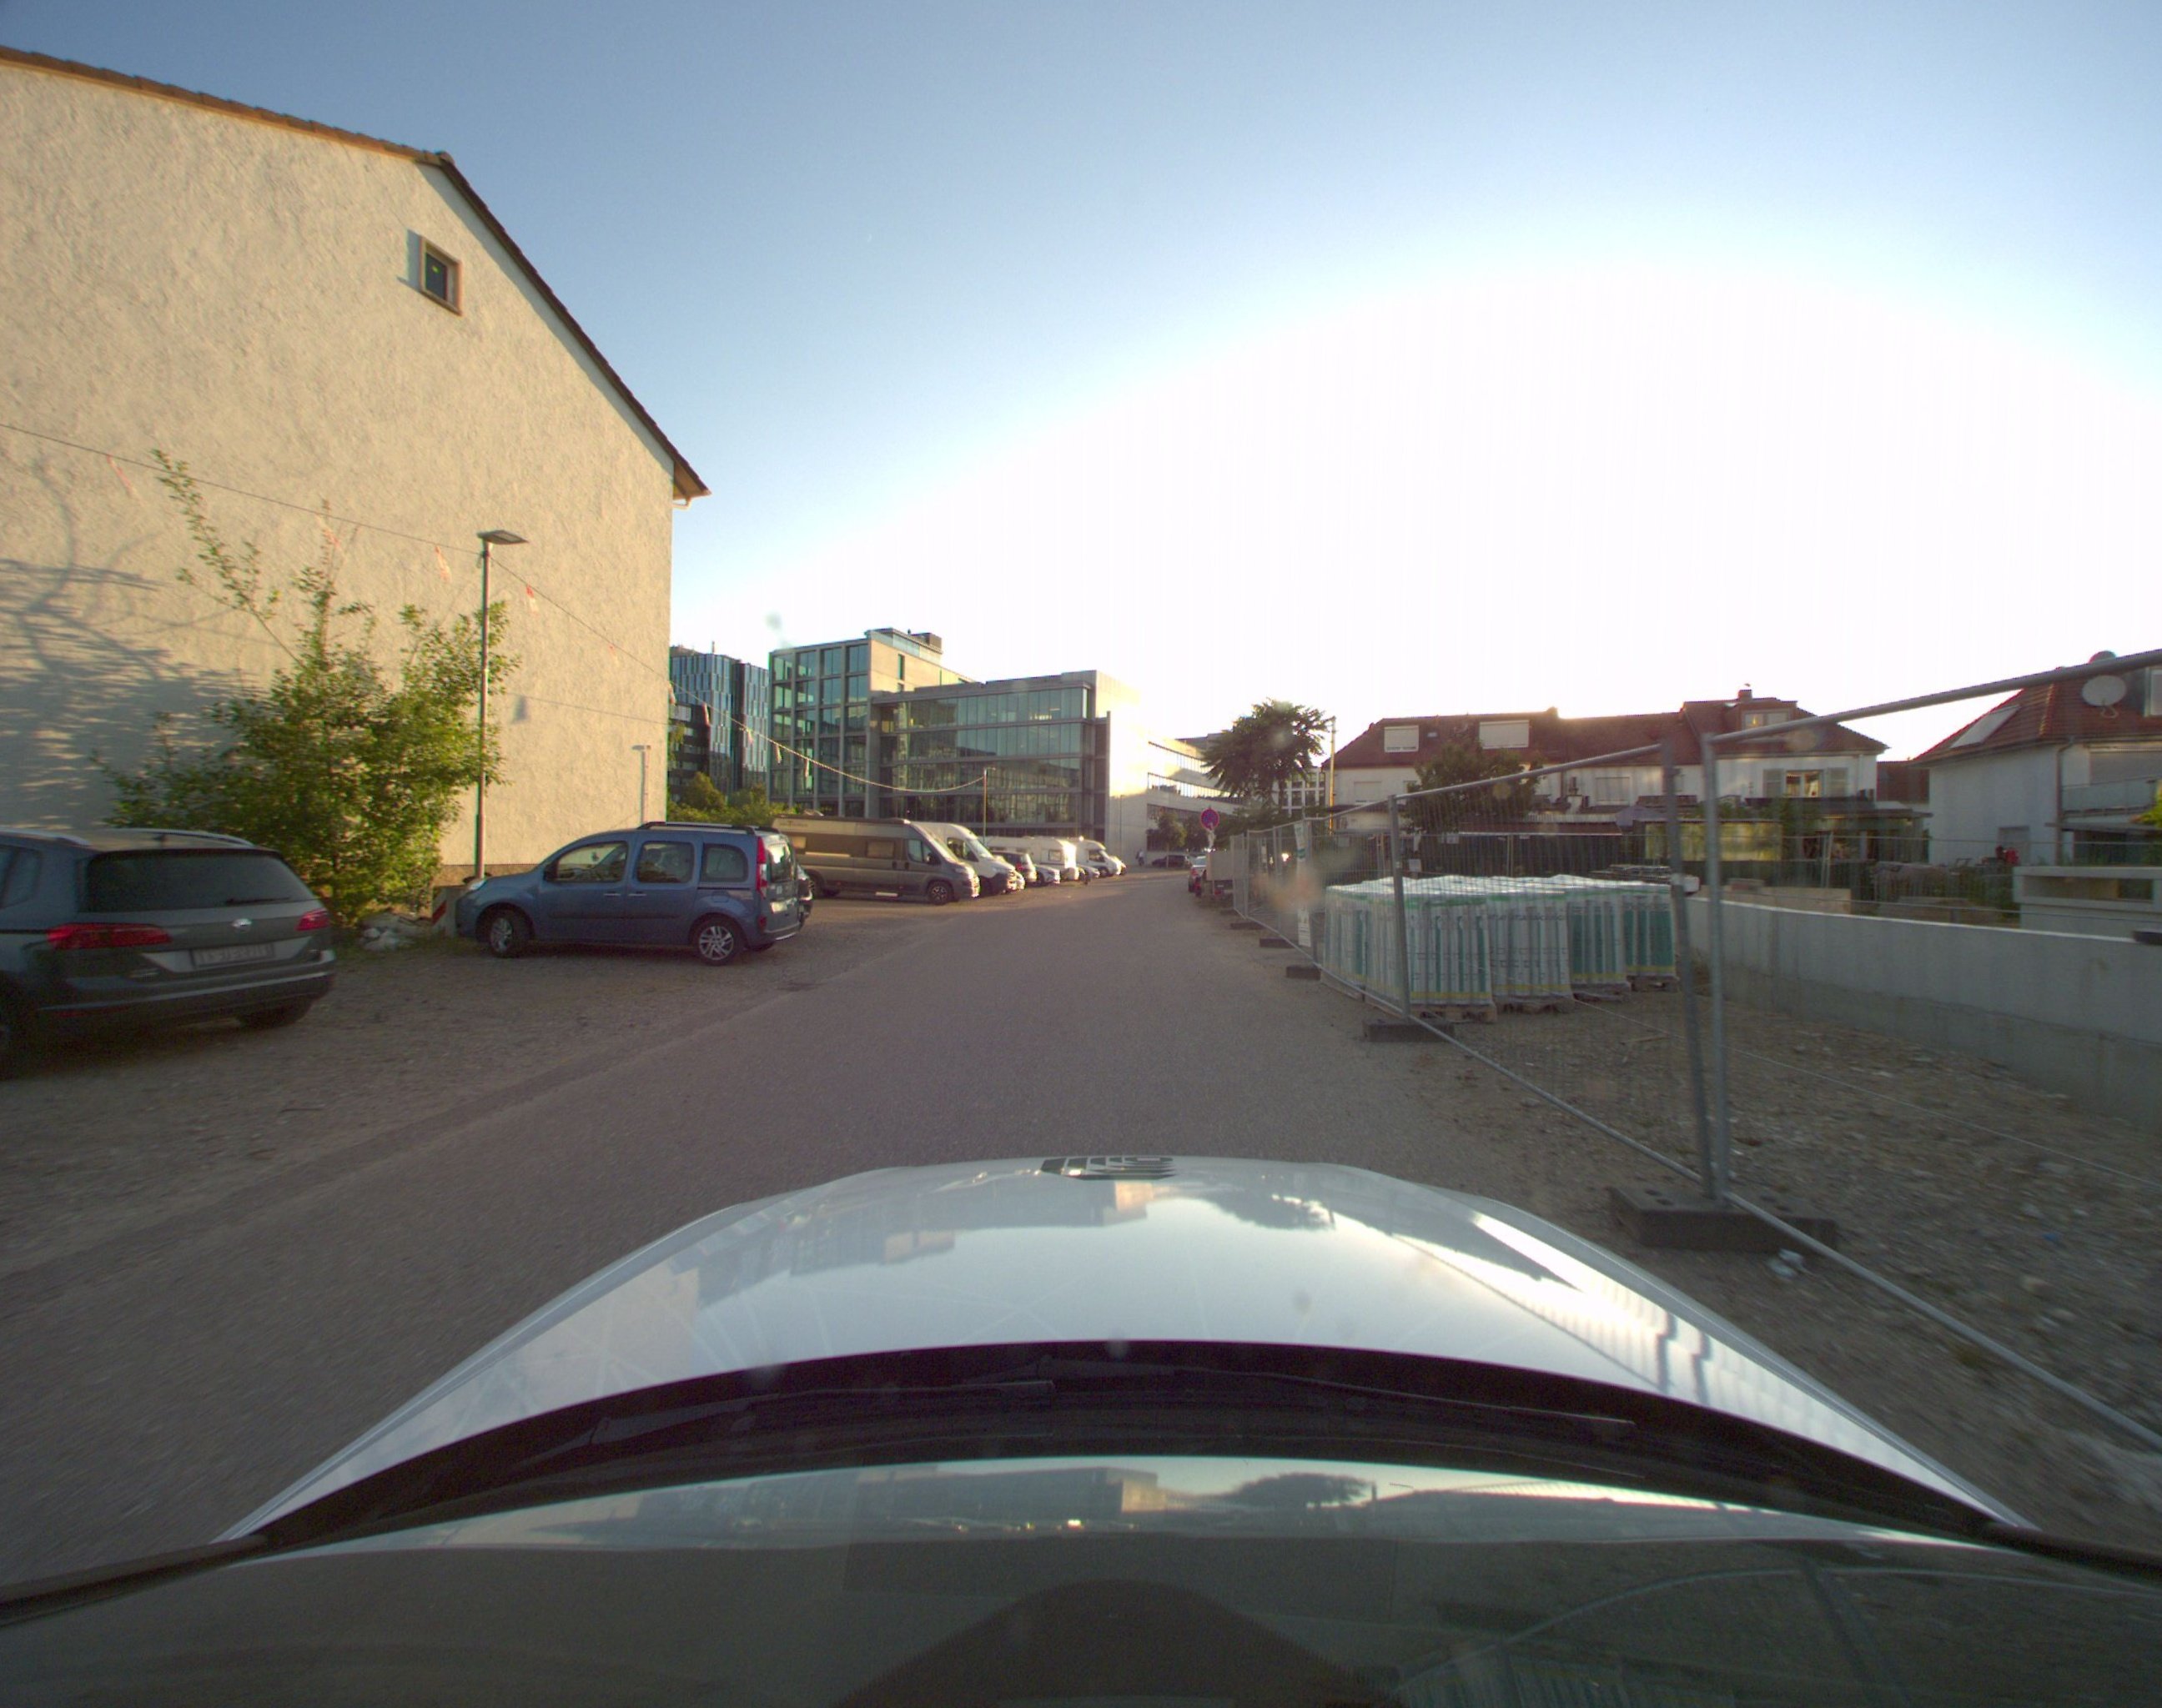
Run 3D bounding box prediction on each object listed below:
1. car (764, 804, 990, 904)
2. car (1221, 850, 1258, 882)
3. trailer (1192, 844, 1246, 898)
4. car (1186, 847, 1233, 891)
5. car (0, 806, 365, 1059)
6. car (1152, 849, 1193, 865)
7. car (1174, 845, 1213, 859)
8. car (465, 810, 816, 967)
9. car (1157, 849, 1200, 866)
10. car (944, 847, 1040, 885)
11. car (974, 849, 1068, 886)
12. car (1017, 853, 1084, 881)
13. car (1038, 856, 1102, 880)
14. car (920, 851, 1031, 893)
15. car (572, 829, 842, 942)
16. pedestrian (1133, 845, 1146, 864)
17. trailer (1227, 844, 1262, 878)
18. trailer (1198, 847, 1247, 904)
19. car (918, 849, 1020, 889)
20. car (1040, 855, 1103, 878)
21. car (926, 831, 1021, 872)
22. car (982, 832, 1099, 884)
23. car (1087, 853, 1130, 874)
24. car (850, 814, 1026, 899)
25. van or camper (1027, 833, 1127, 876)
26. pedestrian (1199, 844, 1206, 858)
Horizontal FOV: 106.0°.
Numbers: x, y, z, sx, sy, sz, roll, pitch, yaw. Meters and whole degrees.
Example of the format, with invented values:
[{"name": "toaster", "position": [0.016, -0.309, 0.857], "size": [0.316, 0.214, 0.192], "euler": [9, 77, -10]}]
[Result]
[{"name": "car", "position": [-6.225, 0.021, 25.442], "size": [6.364, 2.713, 2.114], "euler": [2, -1, 1]}, {"name": "car", "position": [9.825, 0.702, 50.250], "size": [1.757, 1.831, 4.427], "euler": [0, 1, 16]}, {"name": "trailer", "position": [5.061, 0.572, 29.659], "size": [1.720, 1.777, 4.951], "euler": [-1, 0, 10]}, {"name": "car", "position": [5.607, 0.611, 35.126], "size": [1.794, 1.724, 4.943], "euler": [-2, 0, 11]}, {"name": "car", "position": [-7.954, 0.461, 6.110], "size": [3.905, 1.580, 1.646], "euler": [1, 1, 6]}, {"name": "car", "position": [9.121, 0.320, 81.175], "size": [3.704, 1.482, 1.778], "euler": [2, 1, 19]}, {"name": "car", "position": [12.466, -0.229, 90.428], "size": [3.951, 1.511, 1.770], "euler": [2, 1, 26]}, {"name": "car", "position": [-6.033, 0.459, 11.552], "size": [3.918, 1.911, 1.746], "euler": [2, 1, -5]}, {"name": "car", "position": [10.039, 0.352, 83.781], "size": [4.053, 1.528, 1.855], "euler": [2, 1, 19]}, {"name": "car", "position": [-3.986, 0.520, 36.786], "size": [3.895, 1.590, 1.756], "euler": [1, 0, 17]}, {"name": "car", "position": [-2.886, 0.635, 39.517], "size": [4.094, 1.590, 1.756], "euler": [3, 1, 17]}, {"name": "car", "position": [-1.774, 0.741, 48.056], "size": [3.606, 1.519, 1.710], "euler": [2, 0, 10]}, {"name": "car", "position": [-0.667, 0.838, 50.807], "size": [3.703, 1.367, 1.710], "euler": [2, 0, 10]}, {"name": "car", "position": [-4.093, 0.697, 31.849], "size": [3.902, 1.507, 1.794], "euler": [1, 0, 9]}, {"name": "car", "position": [-6.431, 0.482, 14.160], "size": [3.900, 1.652, 1.754], "euler": [3, 1, 11]}, {"name": "pedestrian", "position": [5.829, 0.056, 81.394], "size": [0.905, 1.850, 0.847], "euler": [-1, 0, -34]}, {"name": "trailer", "position": [11.275, 0.463, 55.982], "size": [2.049, 2.211, 5.243], "euler": [0, 0, 15]}, {"name": "trailer", "position": [4.412, 0.637, 25.640], "size": [1.244, 1.665, 2.807], "euler": [-1, 0, 5]}, {"name": "car", "position": [-4.745, 0.651, 34.823], "size": [3.902, 1.591, 1.752], "euler": [1, -1, 9]}, {"name": "car", "position": [-0.588, 0.809, 52.963], "size": [3.782, 1.328, 1.698], "euler": [2, 0, 12]}, {"name": "car", "position": [-7.586, -0.167, 57.582], "size": [6.191, 2.673, 2.234], "euler": [2, 0, 19]}, {"name": "car", "position": [-2.195, 0.216, 44.609], "size": [5.845, 2.534, 2.421], "euler": [2, -1, 15]}, {"name": "car", "position": [2.112, 0.708, 61.458], "size": [1.671, 1.519, 4.386], "euler": [2, 0, 25]}, {"name": "car", "position": [-5.097, 0.061, 29.430], "size": [5.795, 2.713, 2.055], "euler": [2, 0, 6]}, {"name": "van or camper", "position": [-0.262, 0.033, 58.387], "size": [6.692, 2.897, 2.418], "euler": [1, 0, 14]}, {"name": "pedestrian", "position": [15.571, -0.421, 104.398], "size": [0.640, 1.784, 0.729], "euler": [2, 0, 25]}]
